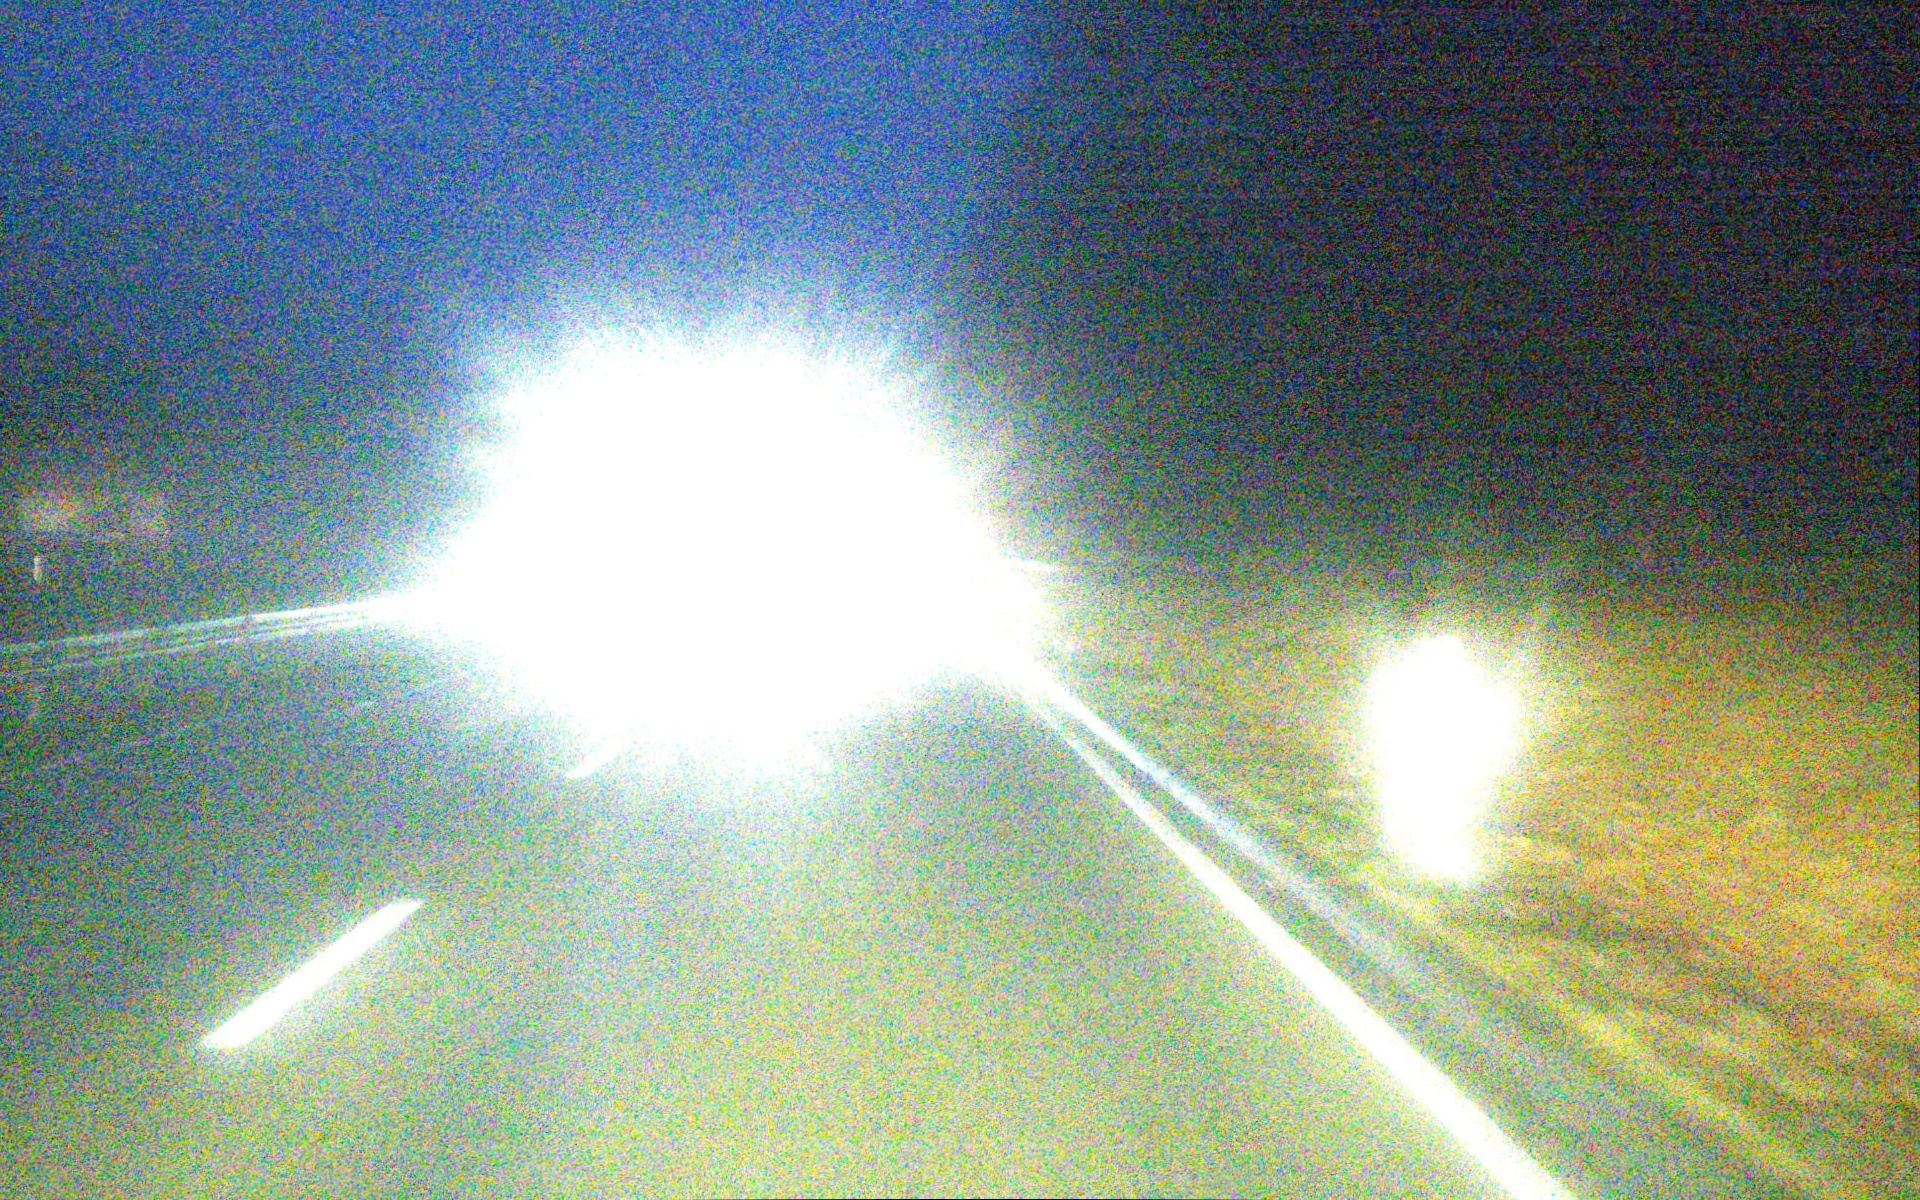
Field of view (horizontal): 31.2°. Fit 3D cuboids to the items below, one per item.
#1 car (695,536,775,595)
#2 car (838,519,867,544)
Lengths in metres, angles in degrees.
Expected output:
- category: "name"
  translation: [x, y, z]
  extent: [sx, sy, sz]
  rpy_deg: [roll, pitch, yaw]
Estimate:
- category: "car"
  translation: [-6.392, -0.988, 98.039]
  extent: [2.097, 1.633, 4.456]
  rpy_deg: [0, 1, -2]
- category: "car"
  translation: [-7.472, -4.755, 238.593]
  extent: [1.993, 1.660, 4.000]
  rpy_deg: [1, 1, -1]
